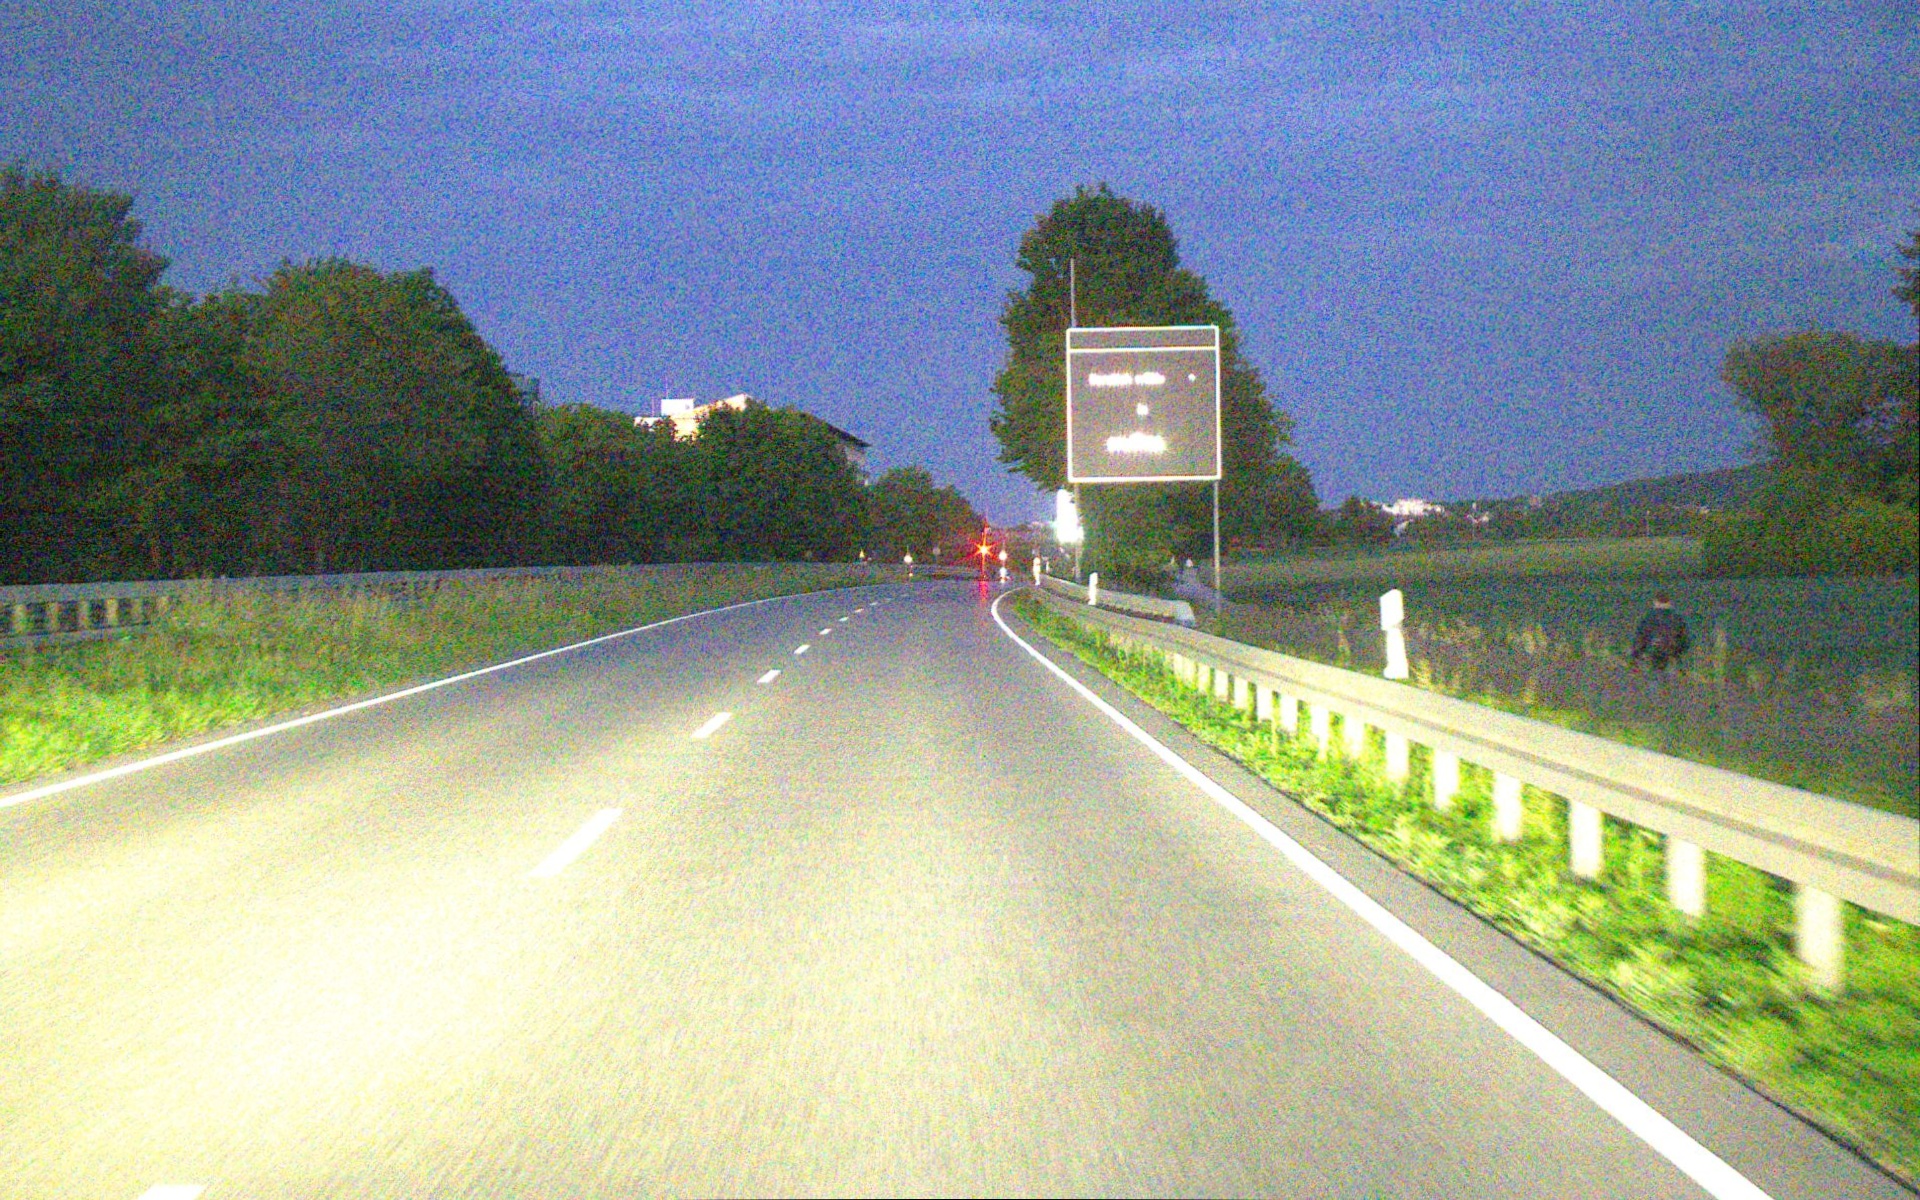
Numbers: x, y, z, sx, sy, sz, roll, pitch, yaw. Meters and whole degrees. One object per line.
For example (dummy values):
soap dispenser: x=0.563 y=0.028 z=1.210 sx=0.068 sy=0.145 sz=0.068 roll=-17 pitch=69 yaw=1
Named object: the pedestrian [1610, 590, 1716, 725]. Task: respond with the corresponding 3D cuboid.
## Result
pedestrian: x=8.786 y=0.708 z=43.008 sx=1.062 sy=1.637 sz=1.118 roll=0 pitch=1 yaw=0
